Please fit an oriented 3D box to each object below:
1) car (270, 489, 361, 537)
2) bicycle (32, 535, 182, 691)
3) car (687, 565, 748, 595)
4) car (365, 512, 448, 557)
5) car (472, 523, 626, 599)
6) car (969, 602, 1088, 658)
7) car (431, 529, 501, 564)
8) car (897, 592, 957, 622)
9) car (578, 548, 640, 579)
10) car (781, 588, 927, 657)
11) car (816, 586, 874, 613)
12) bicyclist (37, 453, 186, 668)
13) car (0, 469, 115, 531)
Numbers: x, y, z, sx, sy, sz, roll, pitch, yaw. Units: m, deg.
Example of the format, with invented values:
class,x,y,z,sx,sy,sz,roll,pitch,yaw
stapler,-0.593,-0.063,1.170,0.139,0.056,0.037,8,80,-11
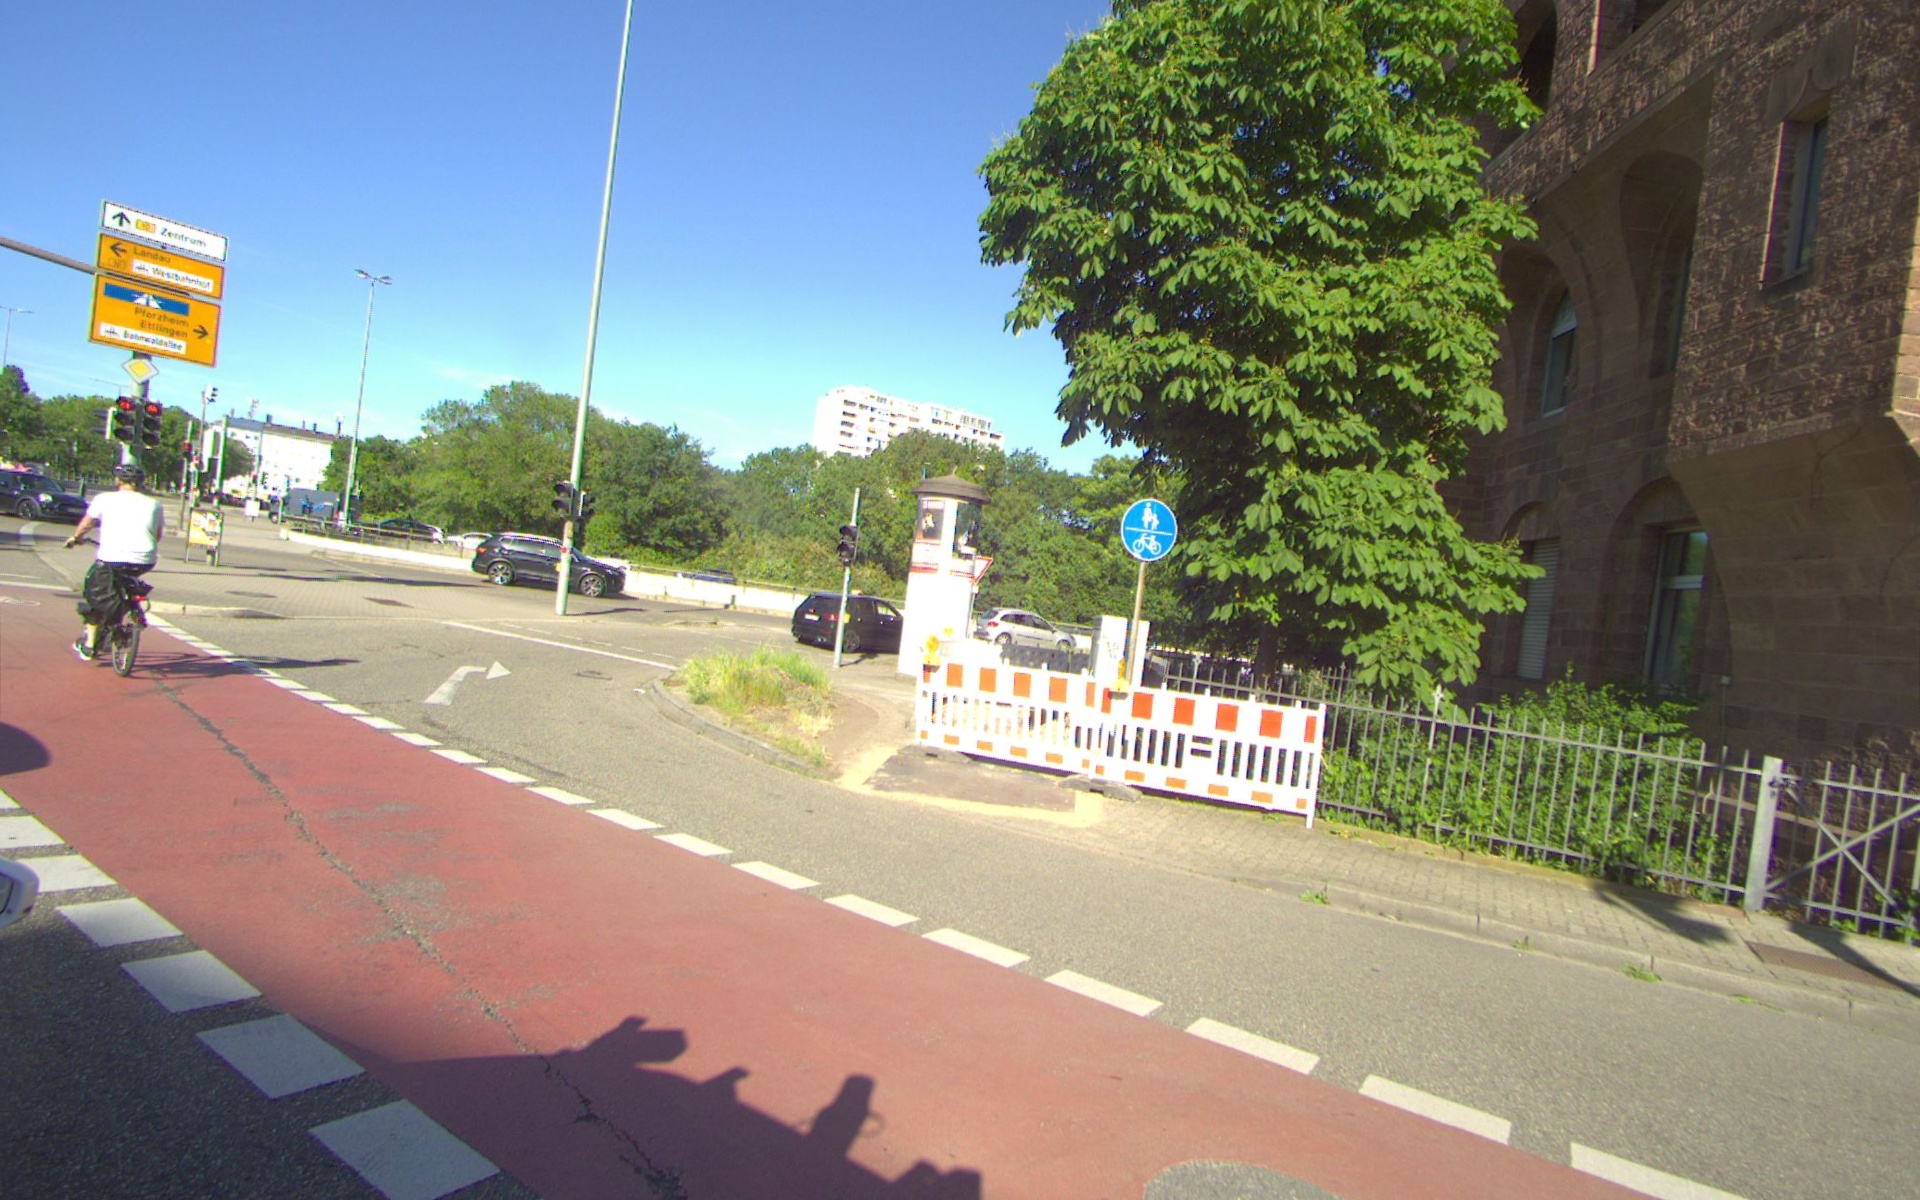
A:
class,x,y,z,sx,sy,sz,roll,pitch,yaw
car,-44.321,-5.965,69.211,4.792,2.638,2.264,6,-1,10
bicycle,-7.585,0.067,8.937,0.797,1.123,2.374,9,-2,-42
car,-17.969,-1.470,74.576,3.948,1.681,1.990,7,-2,-24
car,-33.559,-3.938,61.125,3.943,2.037,1.992,7,-2,-20
car,-13.291,-1.199,32.807,4.294,1.857,1.994,7,-2,-16
car,2.637,1.138,38.902,4.046,1.602,1.817,7,1,-20
car,-33.766,-3.653,68.897,3.943,1.770,1.992,7,-2,-20
car,-2.664,0.568,80.954,4.201,1.876,2.011,7,-2,-21
car,-24.938,-2.572,71.499,3.943,1.703,1.849,7,-2,-20
car,-2.871,0.662,28.046,1.728,1.512,3.988,9,2,34
car,-8.952,-0.036,78.246,3.945,1.681,1.991,7,-2,-22
bicyclist,-7.590,-0.345,9.007,0.797,1.725,1.072,9,-1,-42
car,-29.214,-3.204,31.490,3.923,1.469,2.003,6,-3,8
